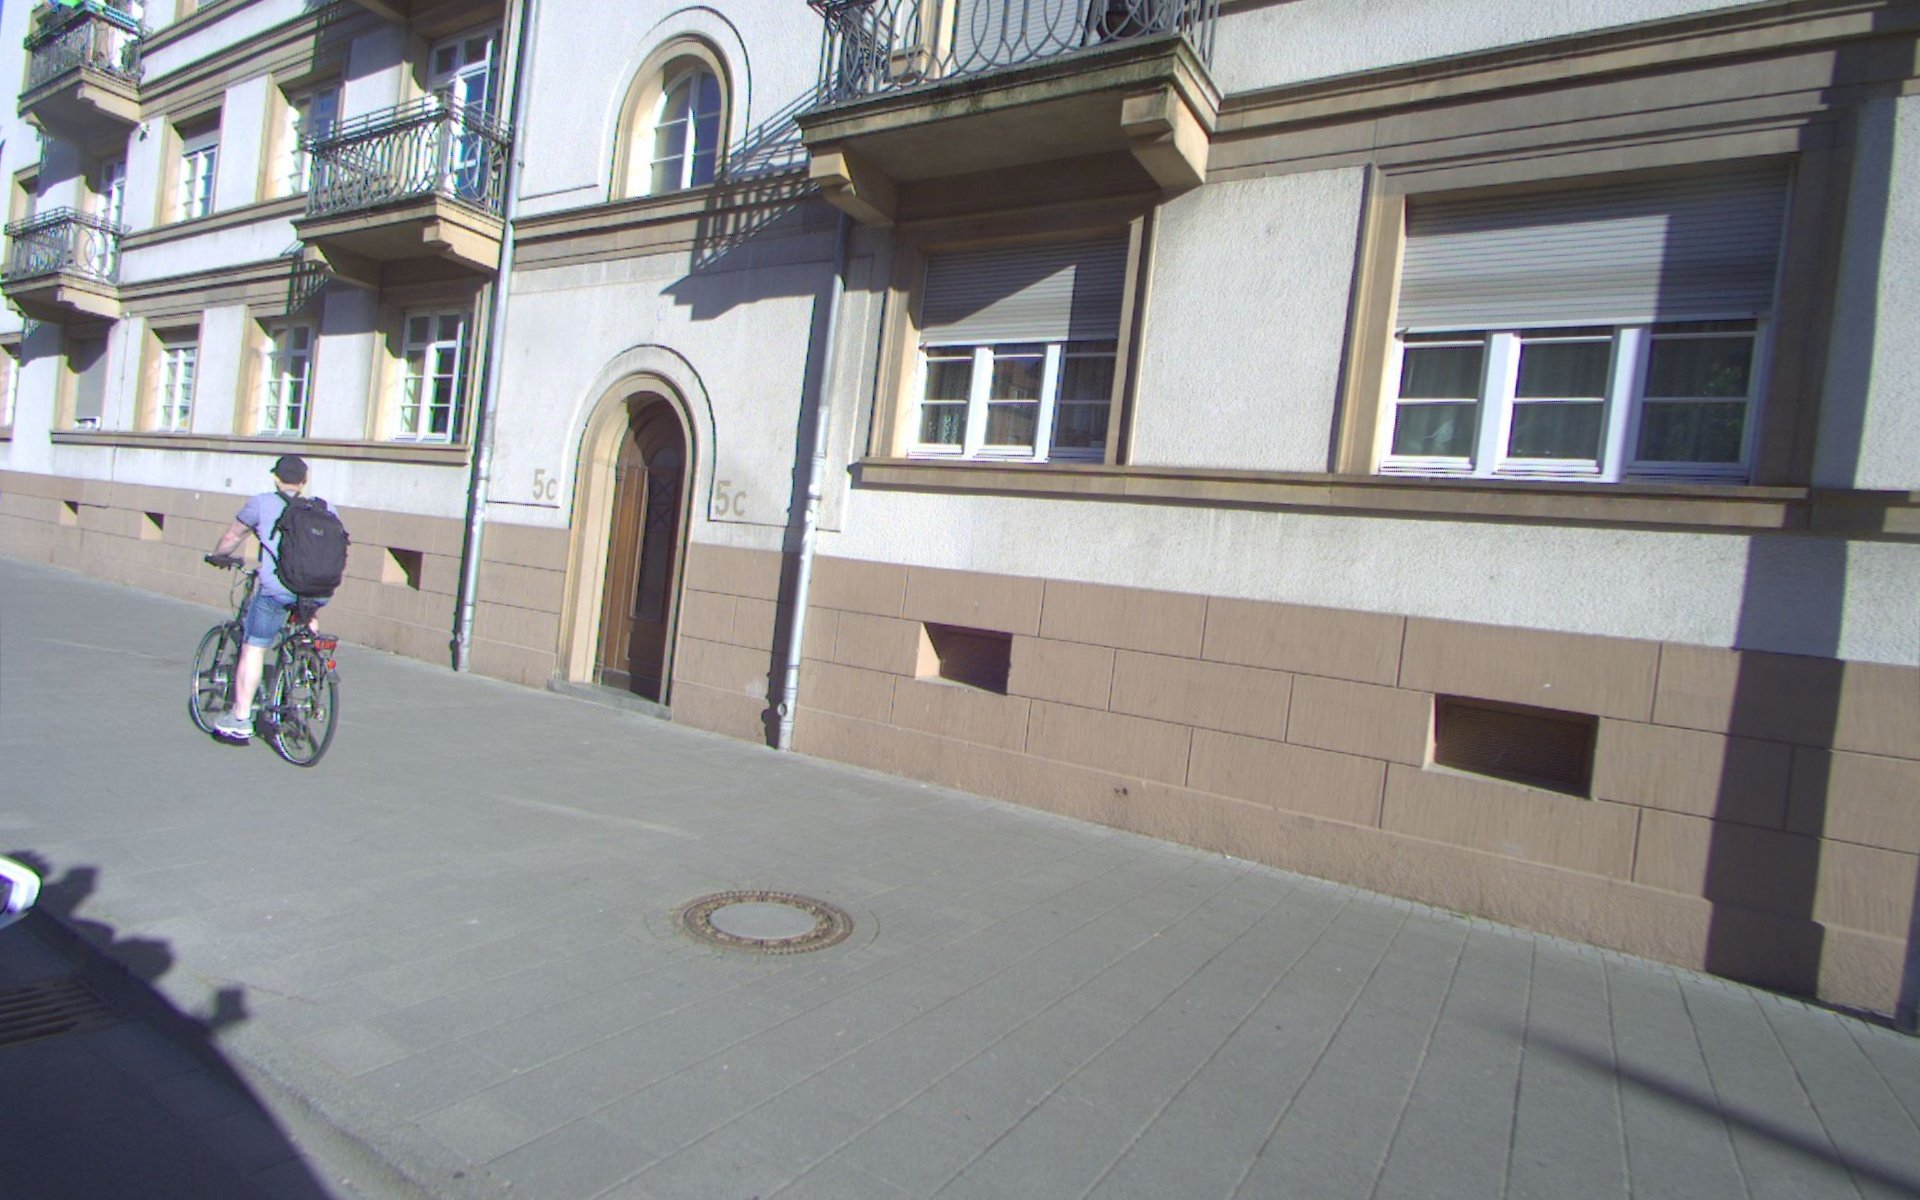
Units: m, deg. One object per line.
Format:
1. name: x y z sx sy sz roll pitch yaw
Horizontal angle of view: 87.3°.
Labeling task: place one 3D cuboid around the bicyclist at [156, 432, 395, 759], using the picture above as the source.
1. bicyclist: -4.106 -0.036 6.041 0.922 1.785 0.733 7 1 31

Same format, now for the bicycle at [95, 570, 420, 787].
1. bicycle: -4.339 0.422 6.156 2.161 0.965 0.768 7 0 32
